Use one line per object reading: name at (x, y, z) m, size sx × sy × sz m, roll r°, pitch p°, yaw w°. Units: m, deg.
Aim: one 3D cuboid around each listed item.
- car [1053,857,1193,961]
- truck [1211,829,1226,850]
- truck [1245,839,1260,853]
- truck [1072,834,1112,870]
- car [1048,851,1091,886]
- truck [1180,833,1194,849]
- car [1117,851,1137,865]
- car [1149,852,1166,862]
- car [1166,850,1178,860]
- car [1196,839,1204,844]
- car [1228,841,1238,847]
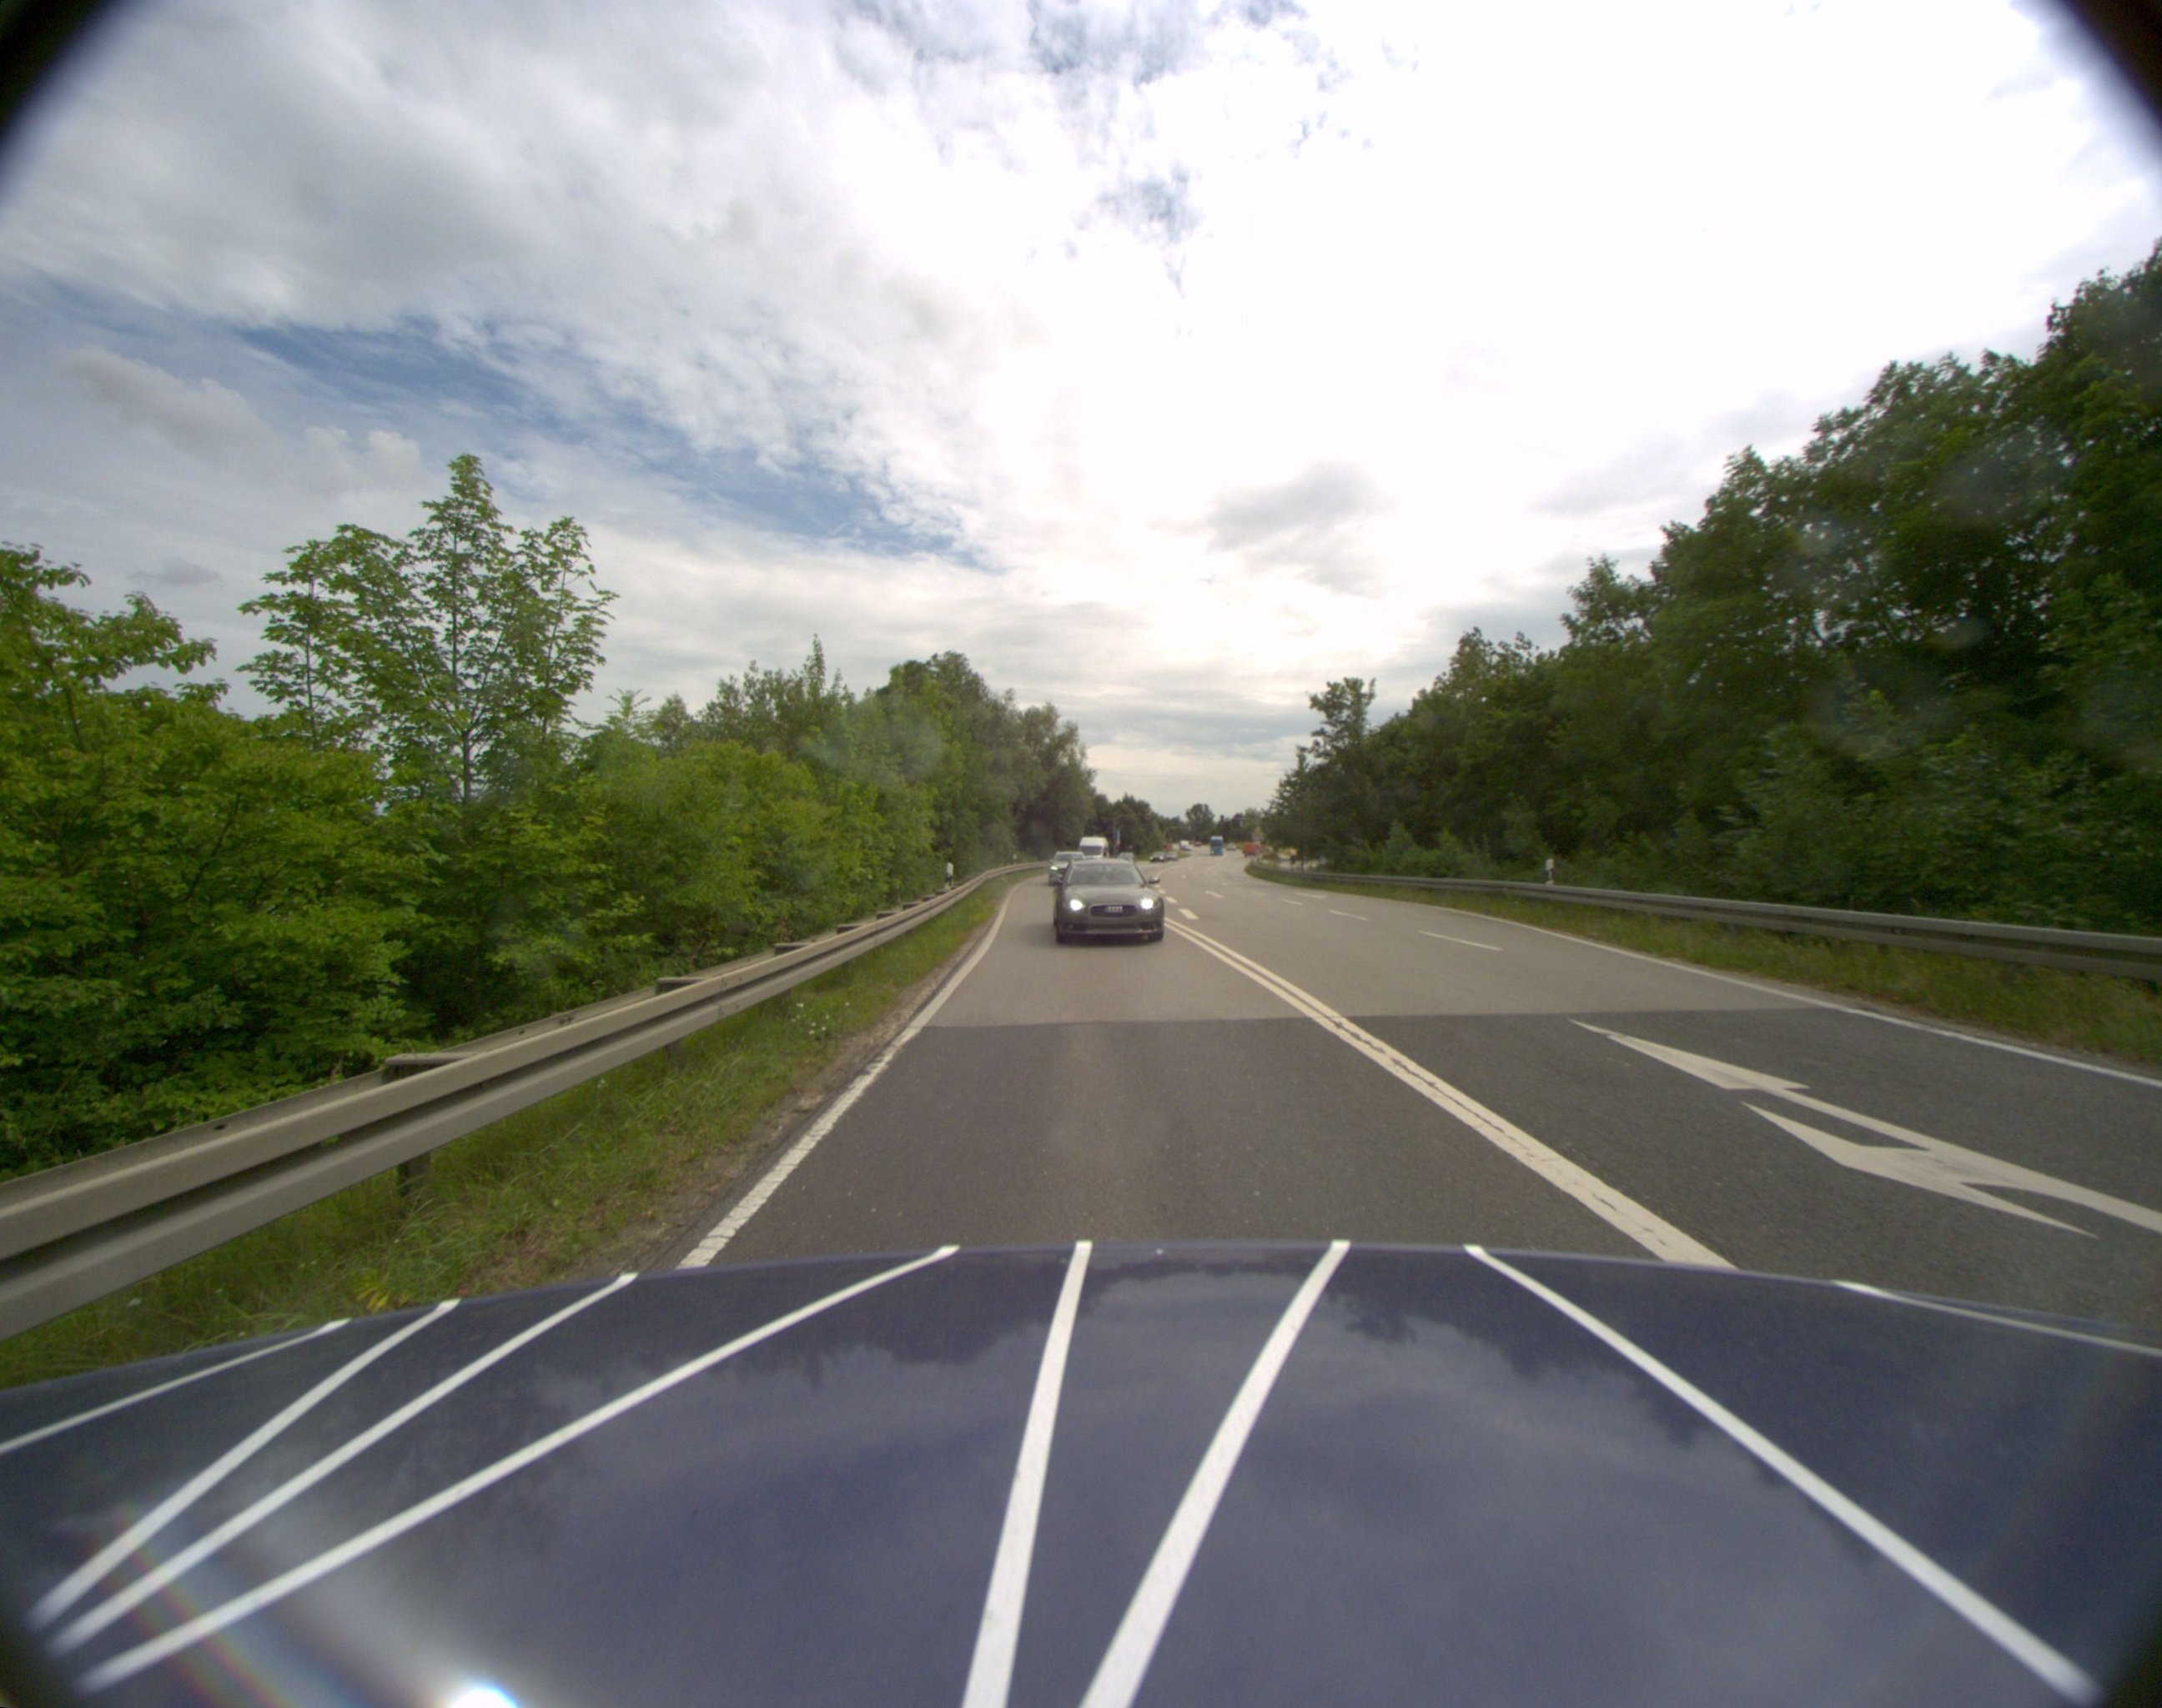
car at (0.560, 0.849, 13.951) m, size 1.965 × 1.447 × 4.794 m, roll -1°, pitch 1°, yaw -4°
truck at (29.805, -3.139, 164.315) m, size 3.024 × 4.325 × 9.577 m, roll 1°, pitch 1°, yaw 10°
truck at (31.893, -1.453, 141.583) m, size 2.320 × 2.586 × 6.027 m, roll 2°, pitch 1°, yaw 9°
truck at (0.943, -0.200, 58.875) m, size 2.377 × 2.579 × 6.001 m, roll 1°, pitch 1°, yaw 7°
car at (-0.502, 0.650, 36.992) m, size 1.826 × 1.489 × 4.224 m, roll 2°, pitch 1°, yaw 3°
truck at (29.449, -3.510, 211.874) m, size 3.026 × 4.325 × 9.571 m, roll 1°, pitch 1°, yaw 3°
car at (4.753, 0.358, 78.175) m, size 1.743 × 1.317 × 4.002 m, roll 3°, pitch 1°, yaw 7°
car at (10.598, 0.379, 105.024) m, size 1.742 × 1.317 × 4.004 m, roll 3°, pitch 1°, yaw 12°
car at (14.237, 0.154, 118.770) m, size 1.743 × 1.317 × 4.002 m, roll 3°, pitch 1°, yaw 8°
car at (39.125, -4.038, 249.860) m, size 1.745 × 1.477 × 4.198 m, roll 1°, pitch 1°, yaw -3°
car at (40.430, -2.607, 202.191) m, size 1.920 × 1.562 × 3.999 m, roll 1°, pitch 1°, yaw 1°
